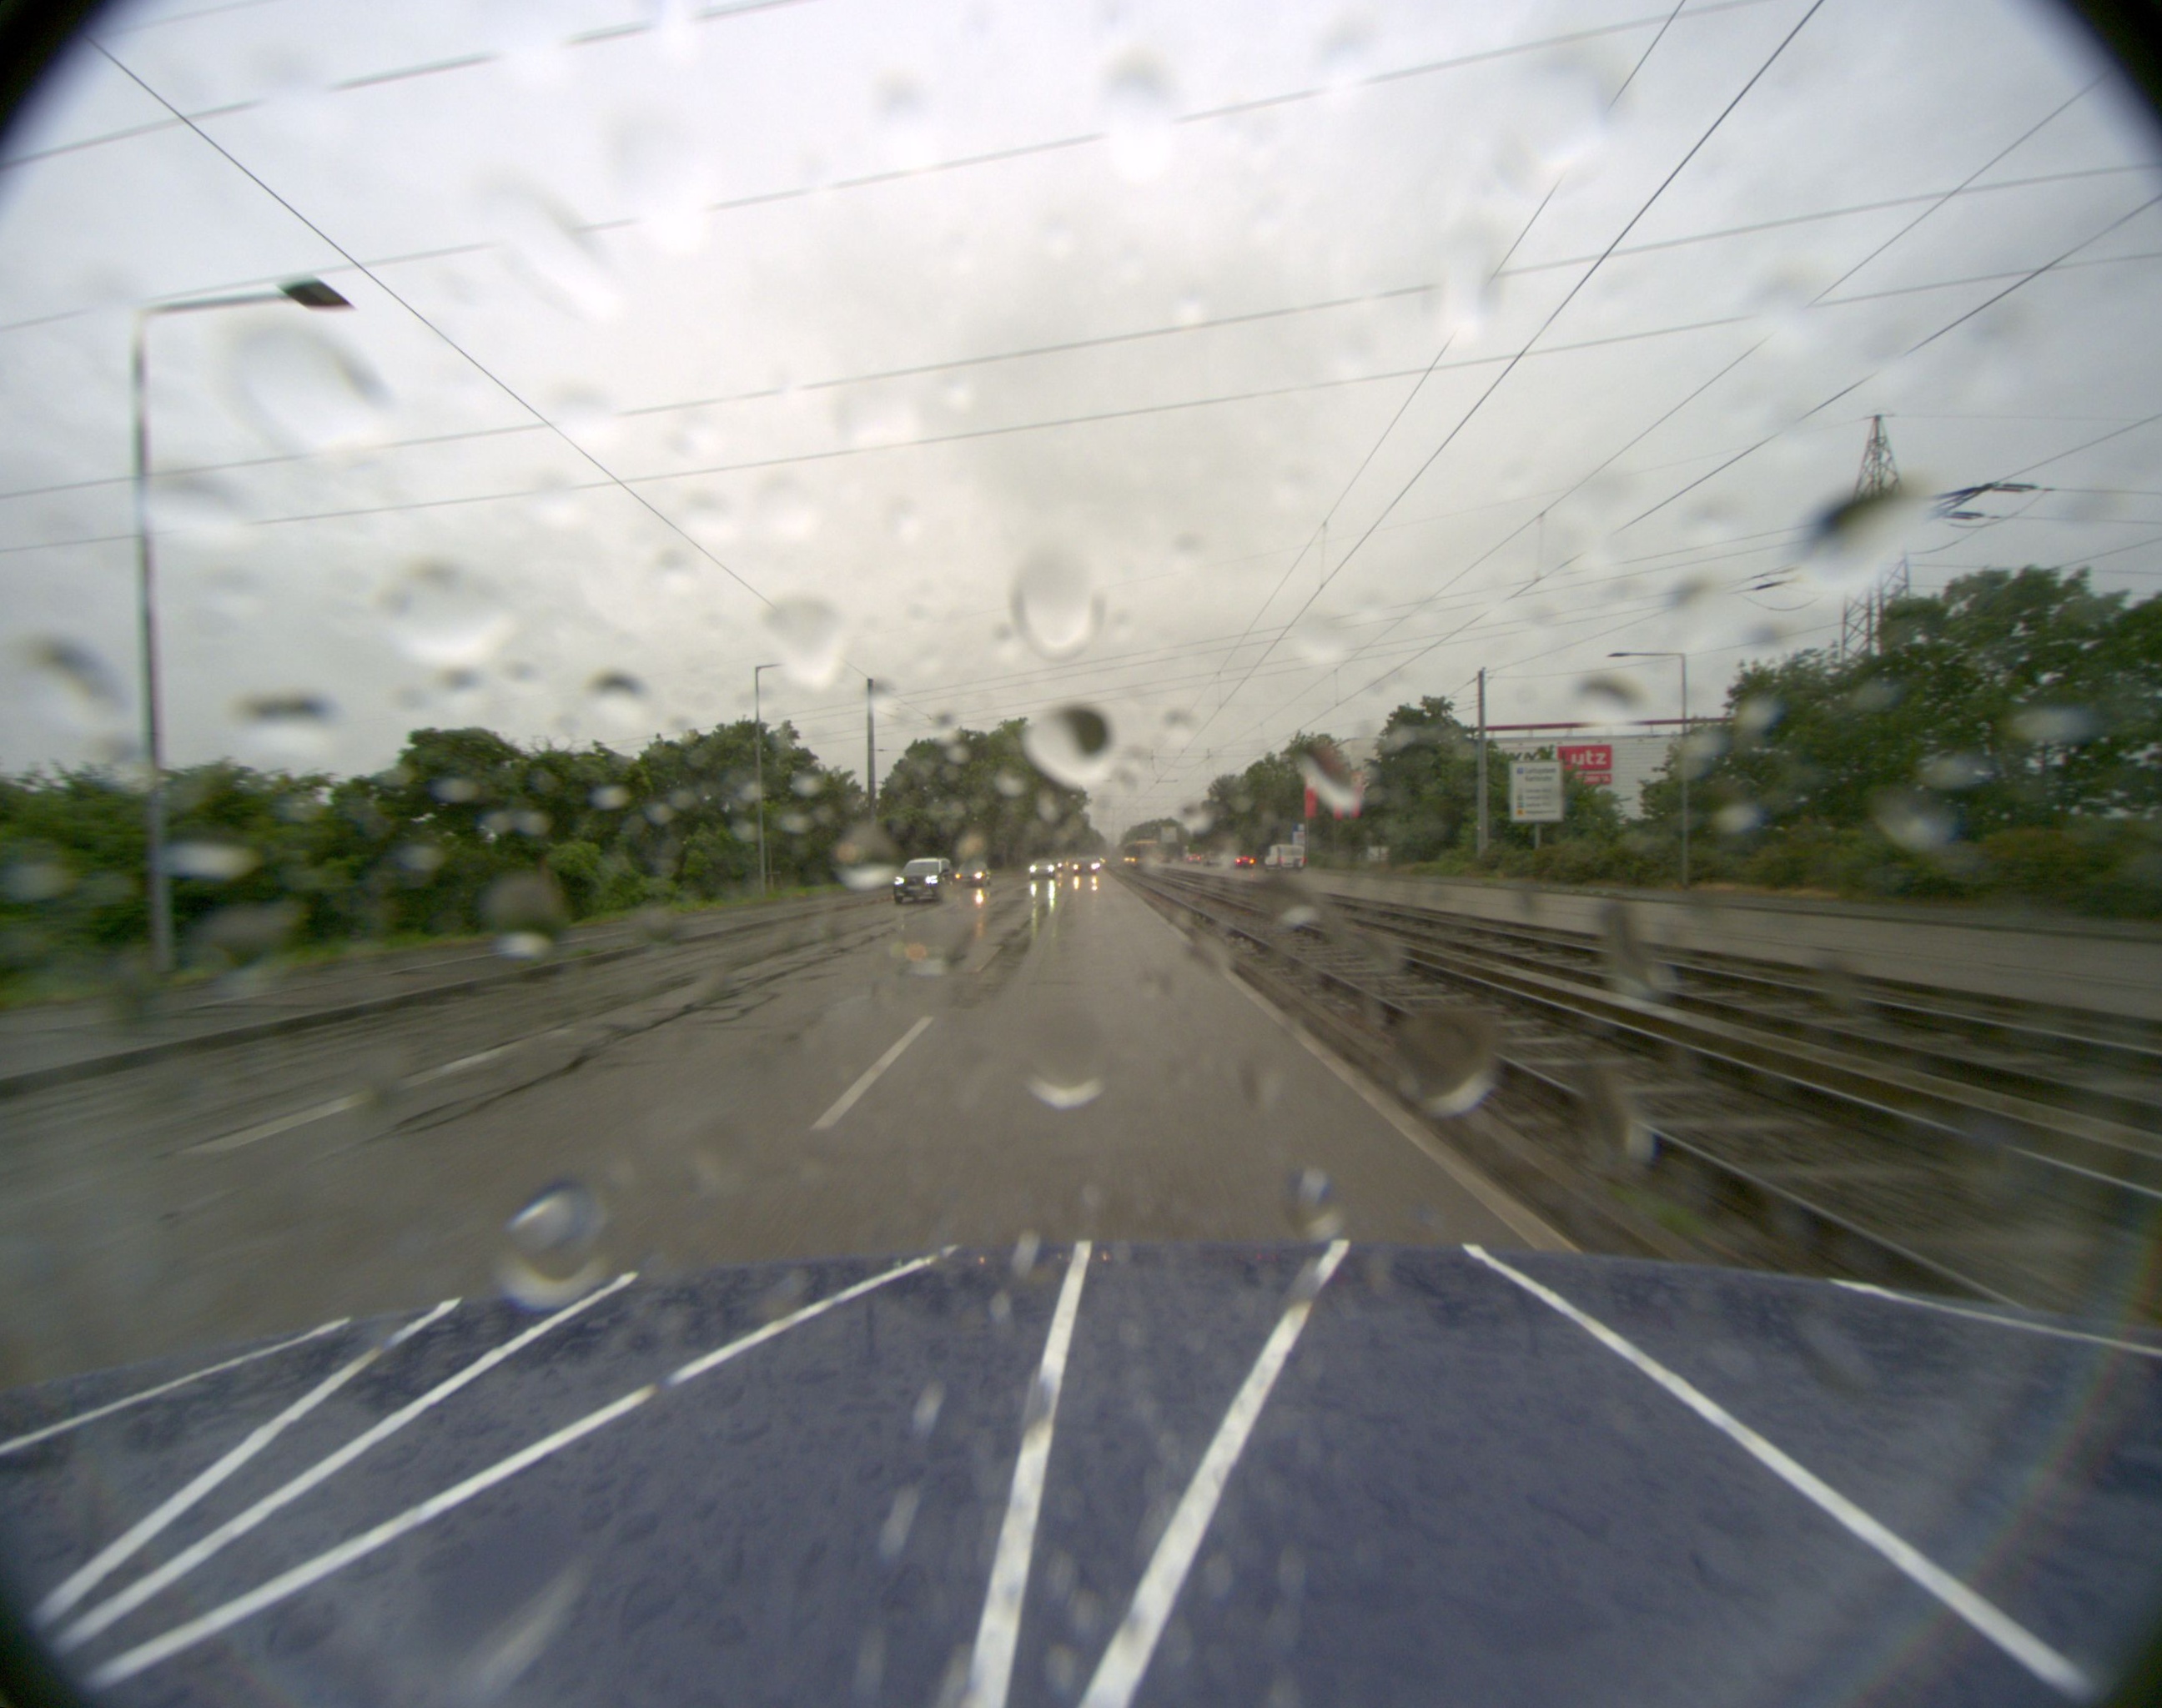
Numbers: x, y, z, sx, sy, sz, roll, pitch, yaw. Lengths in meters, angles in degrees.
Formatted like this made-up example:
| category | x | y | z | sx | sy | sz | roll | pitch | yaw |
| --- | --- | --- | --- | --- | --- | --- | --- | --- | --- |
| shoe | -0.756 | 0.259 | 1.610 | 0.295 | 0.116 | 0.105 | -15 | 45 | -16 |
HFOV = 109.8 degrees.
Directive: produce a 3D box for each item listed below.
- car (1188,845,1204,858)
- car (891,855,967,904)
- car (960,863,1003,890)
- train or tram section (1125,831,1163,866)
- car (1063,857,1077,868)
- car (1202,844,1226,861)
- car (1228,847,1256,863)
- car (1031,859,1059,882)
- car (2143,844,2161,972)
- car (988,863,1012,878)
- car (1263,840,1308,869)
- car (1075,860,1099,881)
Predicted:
| category | x | y | z | sx | sy | sz | roll | pitch | yaw |
| --- | --- | --- | --- | --- | --- | --- | --- | --- | --- |
| car | 18.581 | -0.366 | 122.717 | 1.868 | 1.903 | 4.000 | -2 | 0 | 0 |
| car | -5.835 | 0.932 | 29.772 | 1.797 | 1.692 | 4.764 | -2 | 0 | 2 |
| car | -5.599 | 1.255 | 43.239 | 1.784 | 1.419 | 4.001 | -2 | 0 | 2 |
| train or tram section | 7.395 | -0.514 | 92.302 | 2.893 | 3.683 | 19.530 | -2 | 0 | 0 |
| car | -1.503 | 1.217 | 108.463 | 1.846 | 1.572 | 3.838 | -2 | 0 | 0 |
| car | 17.029 | -0.190 | 97.402 | 2.095 | 2.088 | 4.730 | -2 | 0 | 0 |
| car | 16.866 | 0.115 | 79.776 | 1.901 | 1.631 | 4.730 | -2 | 0 | 0 |
| car | -2.528 | 1.177 | 54.323 | 1.807 | 1.521 | 3.645 | -2 | 0 | 0 |
| car | 14.611 | 0.632 | 7.214 | 1.829 | 1.625 | 5.137 | -2 | 0 | 0 |
| car | -8.254 | 1.689 | 77.604 | 1.784 | 1.419 | 4.001 | -2 | 0 | 2 |
| car | 17.269 | 0.081 | 64.555 | 2.156 | 2.284 | 5.983 | 2 | 0 | 0 |
| car | 0.561 | 1.339 | 62.702 | 1.815 | 1.692 | 4.001 | -2 | 0 | 2 |
